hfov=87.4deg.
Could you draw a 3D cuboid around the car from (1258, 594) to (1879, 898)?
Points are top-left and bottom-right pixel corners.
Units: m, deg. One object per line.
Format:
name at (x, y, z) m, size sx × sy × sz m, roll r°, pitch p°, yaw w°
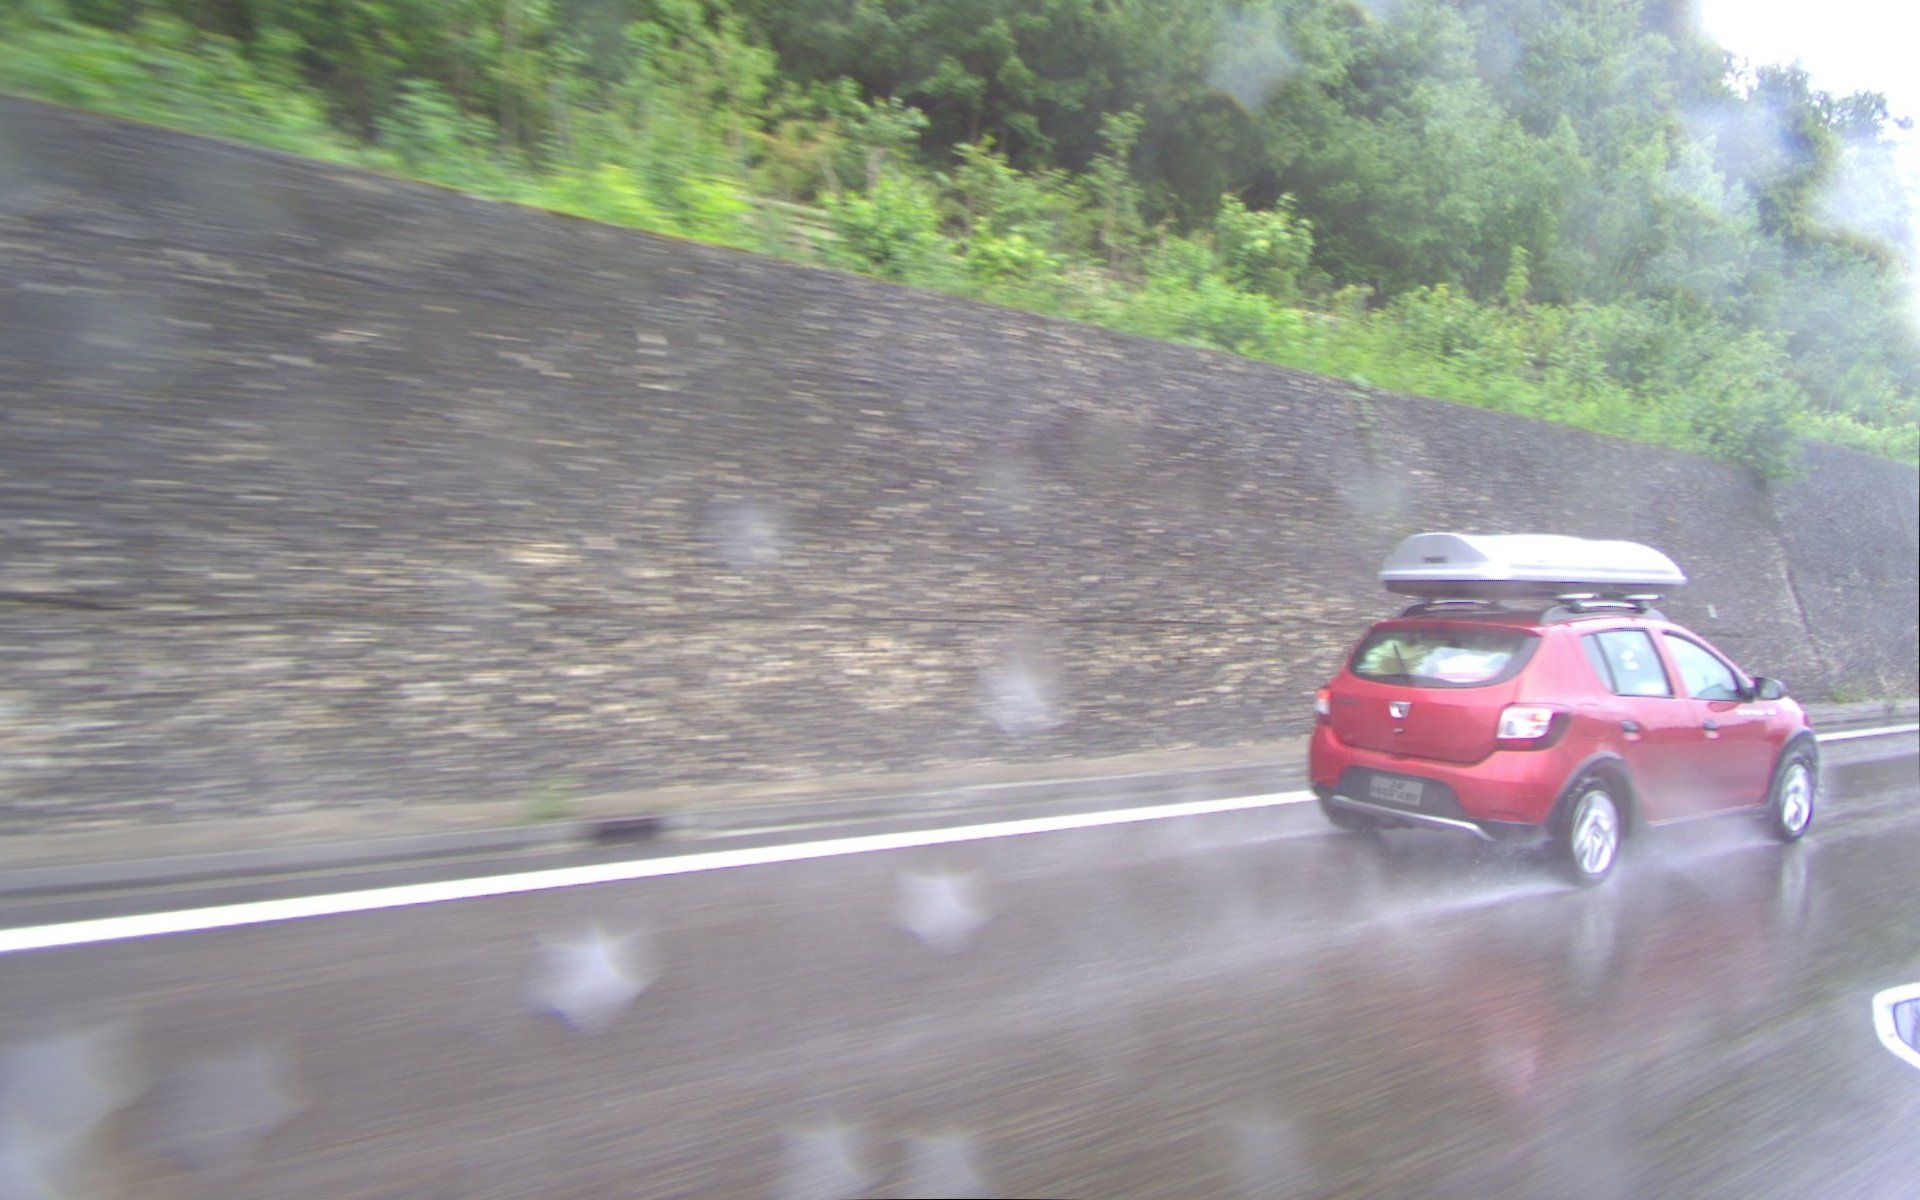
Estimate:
car at (4.272, 0.803, 7.020) m, size 3.950 × 1.572 × 1.985 m, roll 1°, pitch -1°, yaw -28°
